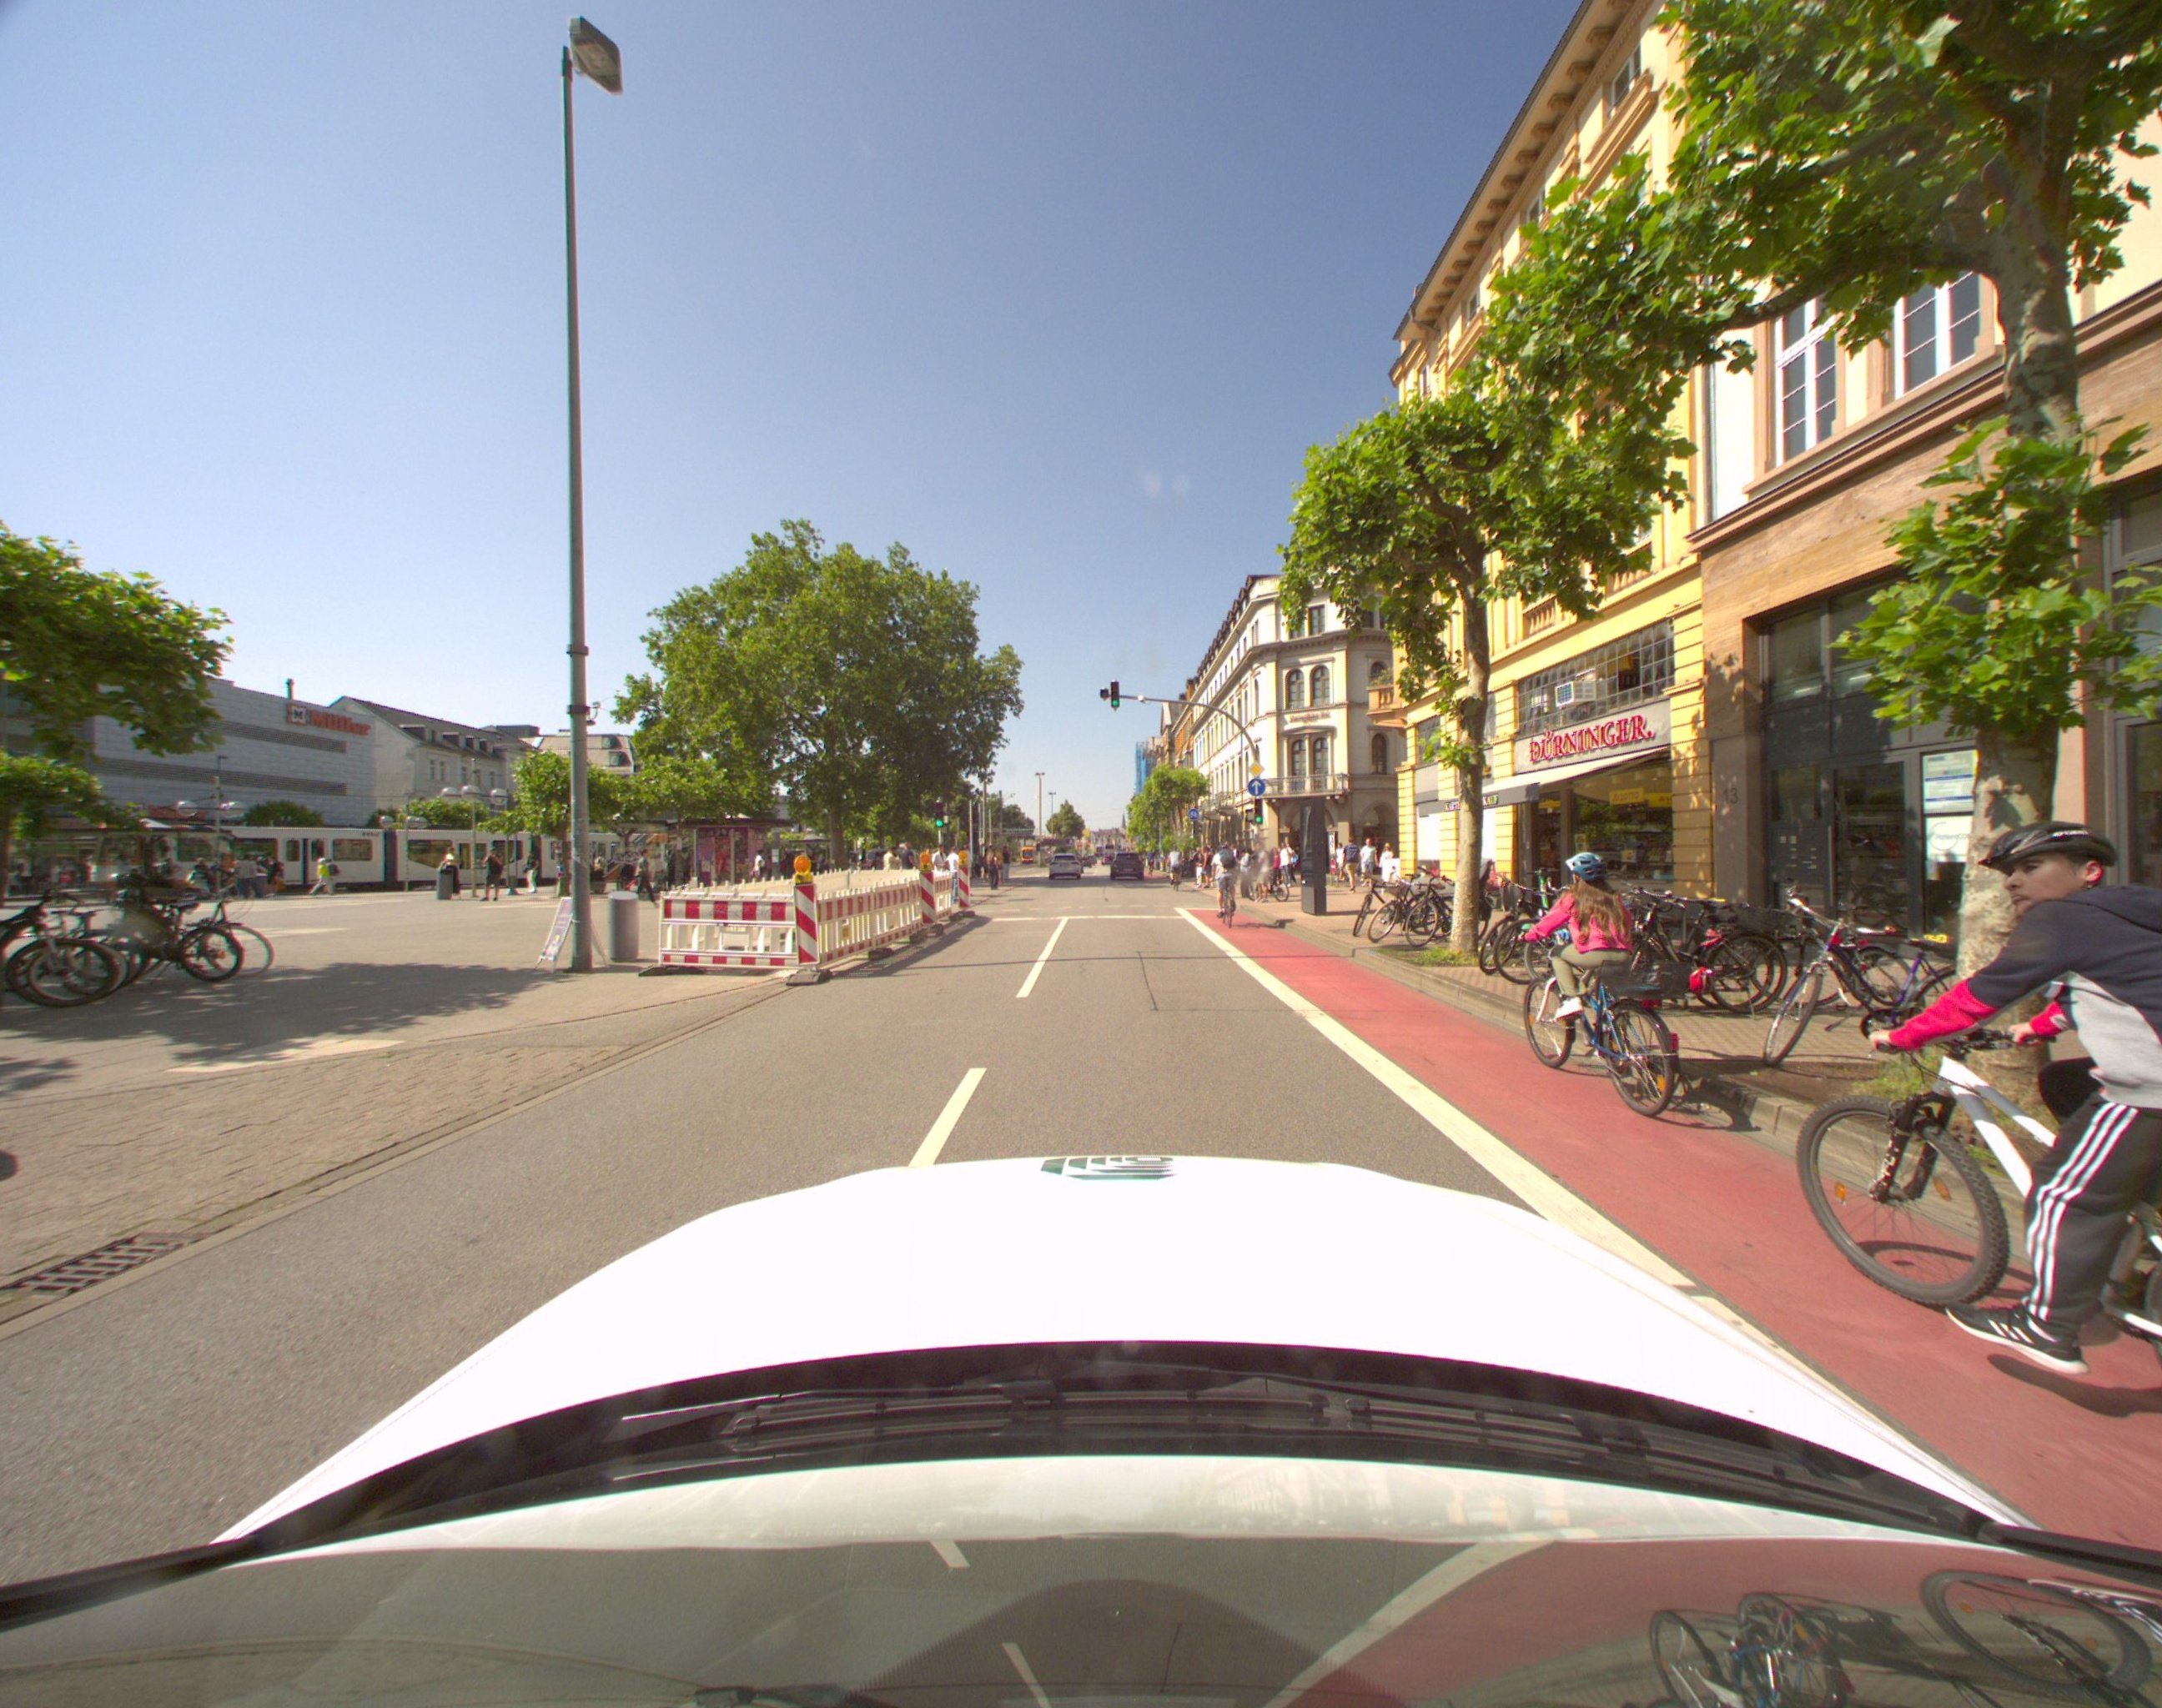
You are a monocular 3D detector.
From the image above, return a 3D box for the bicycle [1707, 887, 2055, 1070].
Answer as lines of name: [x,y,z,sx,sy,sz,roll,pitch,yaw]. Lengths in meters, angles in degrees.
bicycle: [5.187,0.783,5.358,1.642,1.095,0.607,0,0,3]

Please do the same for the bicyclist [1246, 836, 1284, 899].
bicyclist: [5.396,0.381,23.910,0.577,1.797,0.848,-3,0,-33]

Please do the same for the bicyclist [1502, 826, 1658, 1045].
bicyclist: [3.295,0.506,5.432,0.598,1.357,0.721,-1,0,1]

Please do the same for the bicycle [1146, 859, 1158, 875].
bicycle: [4.638,0.855,53.198,0.645,0.998,2.031,0,0,1]

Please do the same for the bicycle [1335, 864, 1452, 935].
bicycle: [5.320,0.762,13.902,1.777,1.122,0.562,-1,0,-2]

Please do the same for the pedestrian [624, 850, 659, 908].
pedestrian: [-12.012,0.675,22.260,0.573,1.532,0.607,1,-1,7]

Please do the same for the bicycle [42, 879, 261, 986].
bicycle: [-10.973,0.911,9.657,1.777,1.185,0.662,0,0,-2]

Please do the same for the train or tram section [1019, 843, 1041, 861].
train or tram section: [-9.727,-0.337,157.736,2.600,3.348,11.018,0,0,5]

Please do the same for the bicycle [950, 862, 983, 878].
bicycle: [-7.622,1.048,54.186,2.082,0.980,0.682,-1,-1,-10]

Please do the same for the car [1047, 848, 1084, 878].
car: [-0.831,0.490,46.227,1.838,1.560,4.002,-2,0,2]

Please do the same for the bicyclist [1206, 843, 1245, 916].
bicyclist: [3.012,0.514,17.072,0.628,1.481,1.198,0,0,1]

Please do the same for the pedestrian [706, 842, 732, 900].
pedestrian: [-12.044,0.565,27.099,0.666,1.879,0.625,1,-1,-33]

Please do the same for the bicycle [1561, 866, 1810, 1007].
bicycle: [5.367,0.719,7.292,1.836,1.201,0.475,0,0,3]

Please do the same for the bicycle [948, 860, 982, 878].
bicycle: [-7.395,0.928,51.953,2.082,1.089,0.682,-1,-1,-10]

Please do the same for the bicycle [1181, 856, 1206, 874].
bicycle: [6.755,0.660,48.984,1.415,0.980,0.445,-2,1,2]

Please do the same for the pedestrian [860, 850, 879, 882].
pedestrian: [-10.225,0.581,39.383,0.627,1.565,0.669,-1,-1,22]

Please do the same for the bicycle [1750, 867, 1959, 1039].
bicycle: [6.220,0.721,6.666,0.469,1.188,1.660,0,0,13]

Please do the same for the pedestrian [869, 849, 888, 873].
pedestrian: [-9.967,0.352,40.043,0.627,1.144,0.669,-1,-1,22]

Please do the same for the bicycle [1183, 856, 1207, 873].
bicycle: [6.924,0.655,49.416,1.415,0.980,0.401,-2,1,2]

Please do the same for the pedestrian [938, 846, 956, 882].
pedestrian: [-6.393,0.478,38.750,0.570,1.711,0.610,0,-1,28]

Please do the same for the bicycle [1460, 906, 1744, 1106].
bicycle: [3.297,0.887,5.438,0.598,0.926,2.088,-1,0,1]

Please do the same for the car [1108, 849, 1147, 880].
car: [2.529,0.547,44.915,1.840,1.559,3.999,-2,0,-1]

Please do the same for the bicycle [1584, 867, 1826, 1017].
bicycle: [5.227,0.720,6.881,1.642,1.201,0.475,0,0,3]

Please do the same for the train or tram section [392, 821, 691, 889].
train or tram section: [-32.817,-0.027,51.049,2.587,3.676,15.647,0,0,37]

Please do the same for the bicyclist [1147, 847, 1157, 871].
bicyclist: [4.649,0.350,53.302,0.645,1.551,0.818,0,0,1]

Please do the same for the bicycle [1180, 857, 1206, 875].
bicycle: [6.452,0.703,46.757,1.415,0.980,0.445,-2,1,2]

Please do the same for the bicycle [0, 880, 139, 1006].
bicycle: [-10.978,0.897,8.361,1.777,1.215,0.662,0,0,-2]

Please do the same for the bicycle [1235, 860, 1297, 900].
bicycle: [5.413,0.751,23.914,0.604,1.082,1.820,-3,0,-33]

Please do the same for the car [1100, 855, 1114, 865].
car: [3.598,0.797,113.829,1.839,1.413,4.001,-1,0,1]

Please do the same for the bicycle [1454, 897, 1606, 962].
bicycle: [5.796,0.950,10.510,1.850,0.715,0.655,0,0,-20]

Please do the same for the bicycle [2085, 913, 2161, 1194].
bicycle: [5.153,0.800,3.145,1.721,1.095,0.607,0,0,3]

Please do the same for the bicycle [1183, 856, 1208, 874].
bicycle: [6.738,0.660,48.036,1.415,0.980,0.445,-2,1,2]

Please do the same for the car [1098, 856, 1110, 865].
car: [3.519,1.035,126.470,1.839,1.413,4.001,-1,0,1]

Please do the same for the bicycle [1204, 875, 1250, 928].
bicycle: [3.013,0.955,16.967,0.628,0.980,2.089,0,0,1]

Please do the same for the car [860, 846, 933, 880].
car: [-11.006,0.541,48.951,1.843,1.955,4.787,-1,0,23]

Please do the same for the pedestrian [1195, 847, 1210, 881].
pedestrian: [6.071,0.484,40.758,0.581,1.673,0.605,-4,-1,0]

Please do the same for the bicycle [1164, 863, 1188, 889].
bicycle: [3.884,0.882,33.416,0.771,1.006,2.330,-1,0,2]

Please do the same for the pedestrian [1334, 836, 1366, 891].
pedestrian: [8.978,0.318,27.195,0.655,1.790,1.233,-1,-2,1]

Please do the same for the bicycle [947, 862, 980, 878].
bicycle: [-7.666,1.018,52.962,2.082,0.980,0.682,-1,-1,-10]

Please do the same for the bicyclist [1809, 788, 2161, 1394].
bicyclist: [2.801,0.566,2.347,0.696,1.440,0.790,1,0,-2]

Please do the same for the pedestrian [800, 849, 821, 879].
pedestrian: [-13.291,0.491,40.051,0.627,1.478,0.735,-1,-1,22]

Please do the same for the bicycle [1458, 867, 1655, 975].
bicycle: [5.345,0.740,9.236,1.836,1.164,0.660,0,0,3]

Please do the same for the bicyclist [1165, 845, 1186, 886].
bicyclist: [3.873,0.465,33.397,0.771,1.635,0.851,-1,0,2]

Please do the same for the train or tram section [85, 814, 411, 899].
train or tram section: [-40.682,0.056,40.472,2.587,3.676,11.072,0,0,37]

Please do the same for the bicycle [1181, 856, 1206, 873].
bicycle: [6.717,0.637,48.491,1.415,0.980,0.445,-2,1,2]

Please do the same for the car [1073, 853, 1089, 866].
car: [0.031,0.642,97.102,1.839,1.560,4.001,-1,0,1]

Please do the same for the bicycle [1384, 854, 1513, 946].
bicycle: [5.604,0.668,12.417,1.826,1.309,0.684,0,0,-19]

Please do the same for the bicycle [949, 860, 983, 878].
bicycle: [-7.261,0.934,51.299,2.082,1.089,0.682,-1,-1,-10]

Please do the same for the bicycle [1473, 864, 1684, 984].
bicycle: [5.207,0.719,8.607,1.836,1.201,0.609,0,0,3]

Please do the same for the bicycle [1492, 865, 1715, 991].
bicycle: [5.155,0.715,8.102,1.836,1.201,0.545,0,0,3]

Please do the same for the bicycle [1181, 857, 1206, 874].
bicycle: [6.573,0.665,47.578,1.415,0.980,0.445,-2,1,2]

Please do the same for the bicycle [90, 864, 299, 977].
bicycle: [-11.252,0.825,10.387,1.777,1.348,0.740,1,0,-2]

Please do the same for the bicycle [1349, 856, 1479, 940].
bicycle: [5.315,0.674,13.021,1.938,1.257,0.701,0,0,-18]

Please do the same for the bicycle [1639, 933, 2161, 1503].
bicycle: [2.793,0.913,2.496,0.696,1.127,2.080,1,0,-2]

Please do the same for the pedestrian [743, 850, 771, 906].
pedestrian: [-10.236,0.764,25.743,0.573,1.738,0.607,1,-1,7]
